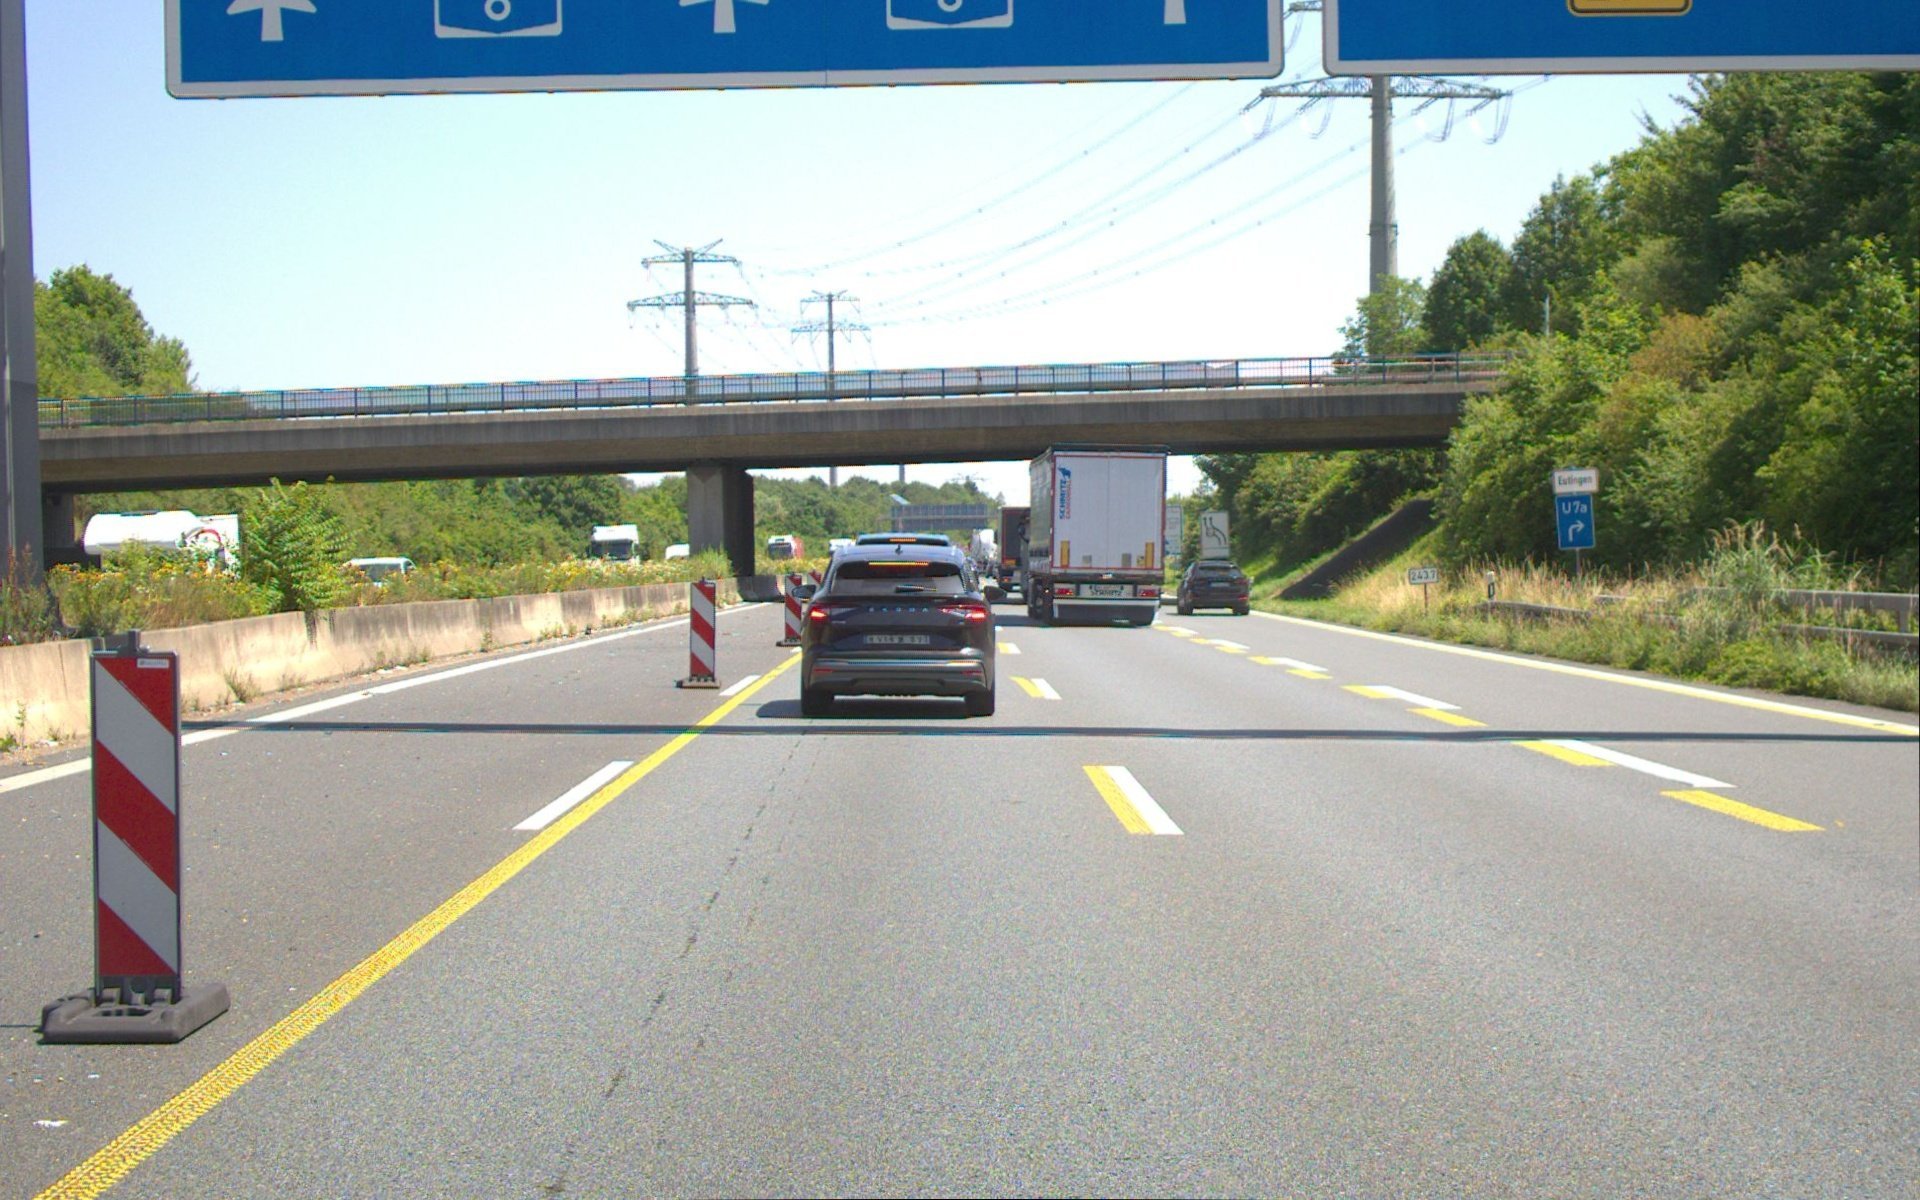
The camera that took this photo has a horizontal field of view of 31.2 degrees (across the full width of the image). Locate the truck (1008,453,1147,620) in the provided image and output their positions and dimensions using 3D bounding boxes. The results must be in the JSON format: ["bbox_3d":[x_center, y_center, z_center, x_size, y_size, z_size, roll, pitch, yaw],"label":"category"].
[{"bbox_3d":[2.928,-1.604,87.986,3.024,4.073,7.796,0,1,-2],"label":"truck"}]

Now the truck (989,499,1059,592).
[{"bbox_3d":[2.916,-2.532,160.924,3.078,4.132,13.054,1,1,0],"label":"truck"}]

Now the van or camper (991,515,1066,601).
[{"bbox_3d":[2.460,-1.543,124.697,2.586,2.958,6.085,2,1,1],"label":"van or camper"}]

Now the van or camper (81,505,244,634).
[{"bbox_3d":[-20.373,-0.792,88.210,2.435,3.136,7.627,-1,1,-1],"label":"van or camper"}]

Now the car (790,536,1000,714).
[{"bbox_3d":[-0.652,0.186,33.450,1.895,1.586,4.443,-1,1,-2],"label":"car"}]

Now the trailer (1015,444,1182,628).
[{"bbox_3d":[3.140,-1.500,81.143,3.065,4.029,11.489,0,1,-2],"label":"trailer"}]

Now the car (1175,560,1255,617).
[{"bbox_3d":[6.977,-0.335,94.497,1.779,1.484,4.464,1,1,-1],"label":"car"}]

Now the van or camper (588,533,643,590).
[{"bbox_3d":[-19.519,-2.187,195.100,2.570,3.176,6.233,1,1,-1],"label":"van or camper"}]

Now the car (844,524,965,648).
[{"bbox_3d":[-0.930,-0.268,56.557,1.895,1.835,4.443,0,3,-1],"label":"car"}]
